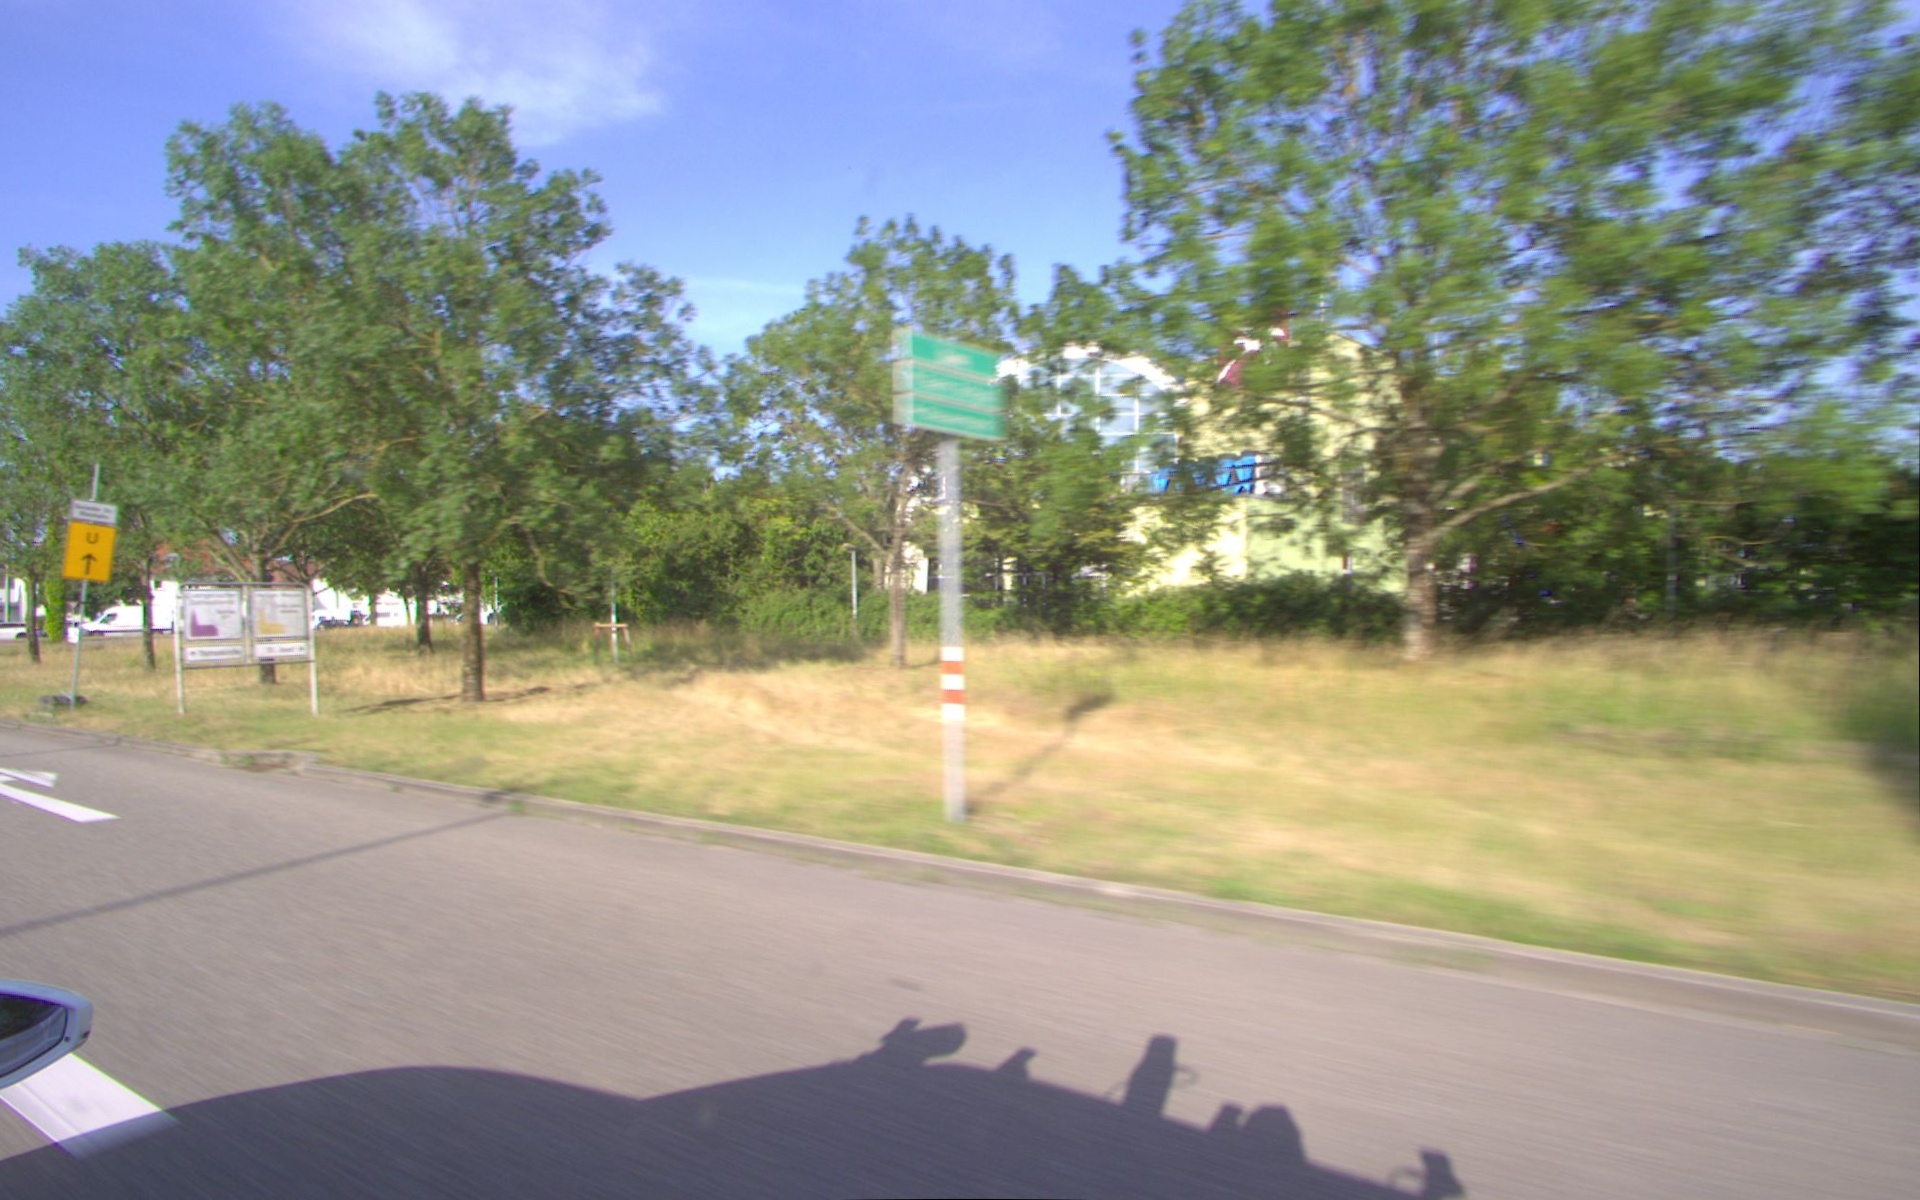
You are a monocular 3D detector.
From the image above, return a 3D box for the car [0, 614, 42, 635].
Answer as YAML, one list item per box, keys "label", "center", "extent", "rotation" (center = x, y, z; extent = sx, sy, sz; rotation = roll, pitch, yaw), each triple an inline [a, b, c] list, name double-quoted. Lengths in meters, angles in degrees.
- label: "car"
  center: [-71.421, 1.824, 74.081]
  extent: [1.819, 1.583, 5.068]
  rotation: [0, 0, 42]

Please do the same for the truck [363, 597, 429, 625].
- label: "truck"
  center: [-61.467, 1.177, 109.235]
  extent: [5.961, 2.892, 1.895]
  rotation: [-1, 0, -5]

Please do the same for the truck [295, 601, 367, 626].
- label: "truck"
  center: [-65.534, 1.374, 104.362]
  extent: [6.234, 2.557, 2.277]
  rotation: [0, 0, 7]

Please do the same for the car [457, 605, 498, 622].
- label: "car"
  center: [-56.294, 1.567, 116.921]
  extent: [3.834, 1.945, 1.896]
  rotation: [-1, 0, -5]

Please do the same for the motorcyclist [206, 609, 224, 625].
- label: "motorcyclist"
  center: [-62.100, 1.413, 83.426]
  extent: [0.672, 1.370, 1.060]
  rotation: [0, 0, 40]

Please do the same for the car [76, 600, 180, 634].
- label: "car"
  center: [-66.340, 1.357, 79.916]
  extent: [1.977, 2.617, 6.177]
  rotation: [0, 0, 41]
